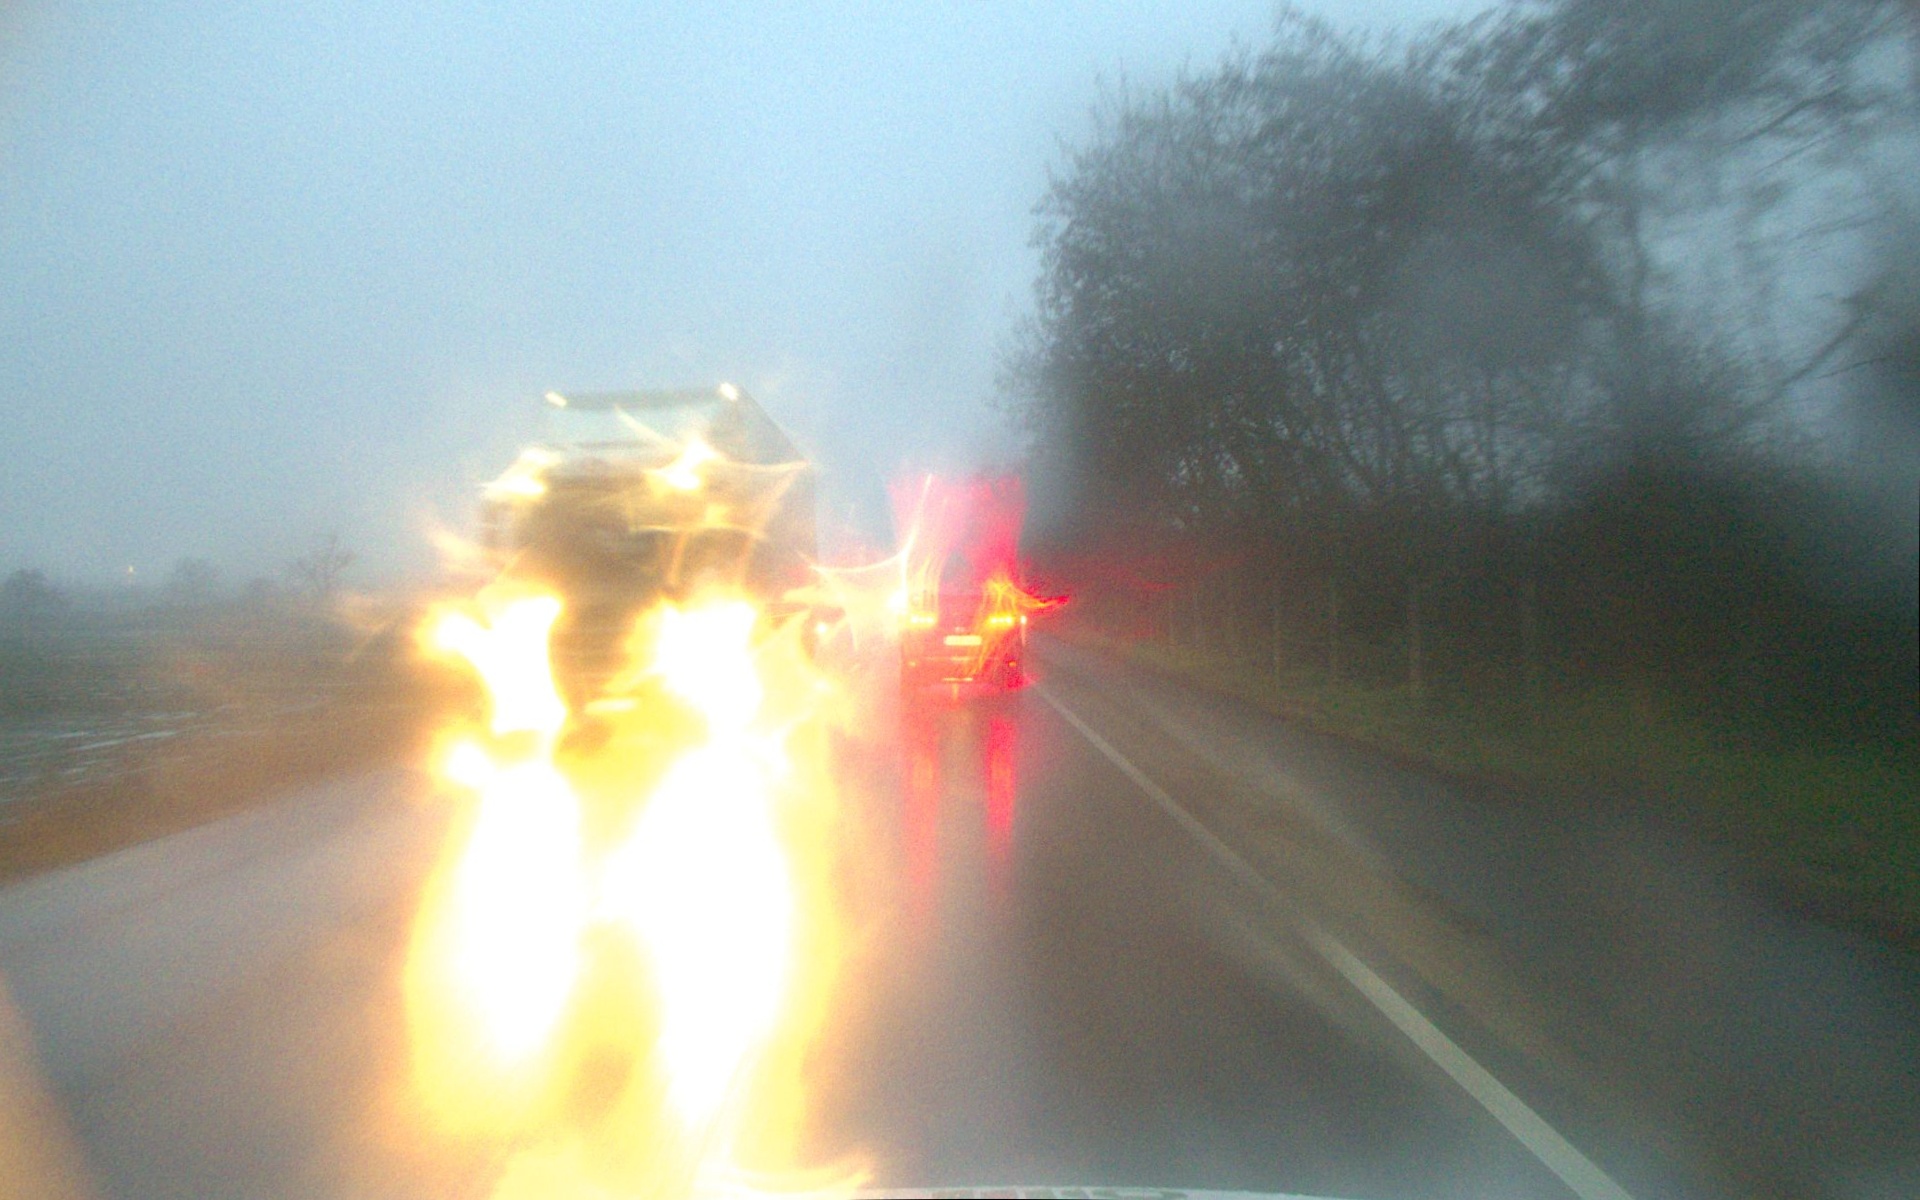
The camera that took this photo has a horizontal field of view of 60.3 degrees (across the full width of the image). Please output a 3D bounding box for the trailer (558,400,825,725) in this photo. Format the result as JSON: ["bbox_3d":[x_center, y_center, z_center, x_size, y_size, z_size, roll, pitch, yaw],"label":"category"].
[{"bbox_3d":[-3.976,-0.534,27.609,2.647,4.151,12.378,-1,0,-1],"label":"trailer"}]

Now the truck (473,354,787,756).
[{"bbox_3d":[-3.817,-0.501,20.723,2.670,4.177,6.586,-1,0,-1],"label":"truck"}]

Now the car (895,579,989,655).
[{"bbox_3d":[-0.503,0.464,47.615,2.539,2.049,5.803,1,0,0],"label":"car"}]

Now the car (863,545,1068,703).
[{"bbox_3d":[0.064,0.332,25.329,2.763,2.113,5.803,1,0,0],"label":"car"}]
